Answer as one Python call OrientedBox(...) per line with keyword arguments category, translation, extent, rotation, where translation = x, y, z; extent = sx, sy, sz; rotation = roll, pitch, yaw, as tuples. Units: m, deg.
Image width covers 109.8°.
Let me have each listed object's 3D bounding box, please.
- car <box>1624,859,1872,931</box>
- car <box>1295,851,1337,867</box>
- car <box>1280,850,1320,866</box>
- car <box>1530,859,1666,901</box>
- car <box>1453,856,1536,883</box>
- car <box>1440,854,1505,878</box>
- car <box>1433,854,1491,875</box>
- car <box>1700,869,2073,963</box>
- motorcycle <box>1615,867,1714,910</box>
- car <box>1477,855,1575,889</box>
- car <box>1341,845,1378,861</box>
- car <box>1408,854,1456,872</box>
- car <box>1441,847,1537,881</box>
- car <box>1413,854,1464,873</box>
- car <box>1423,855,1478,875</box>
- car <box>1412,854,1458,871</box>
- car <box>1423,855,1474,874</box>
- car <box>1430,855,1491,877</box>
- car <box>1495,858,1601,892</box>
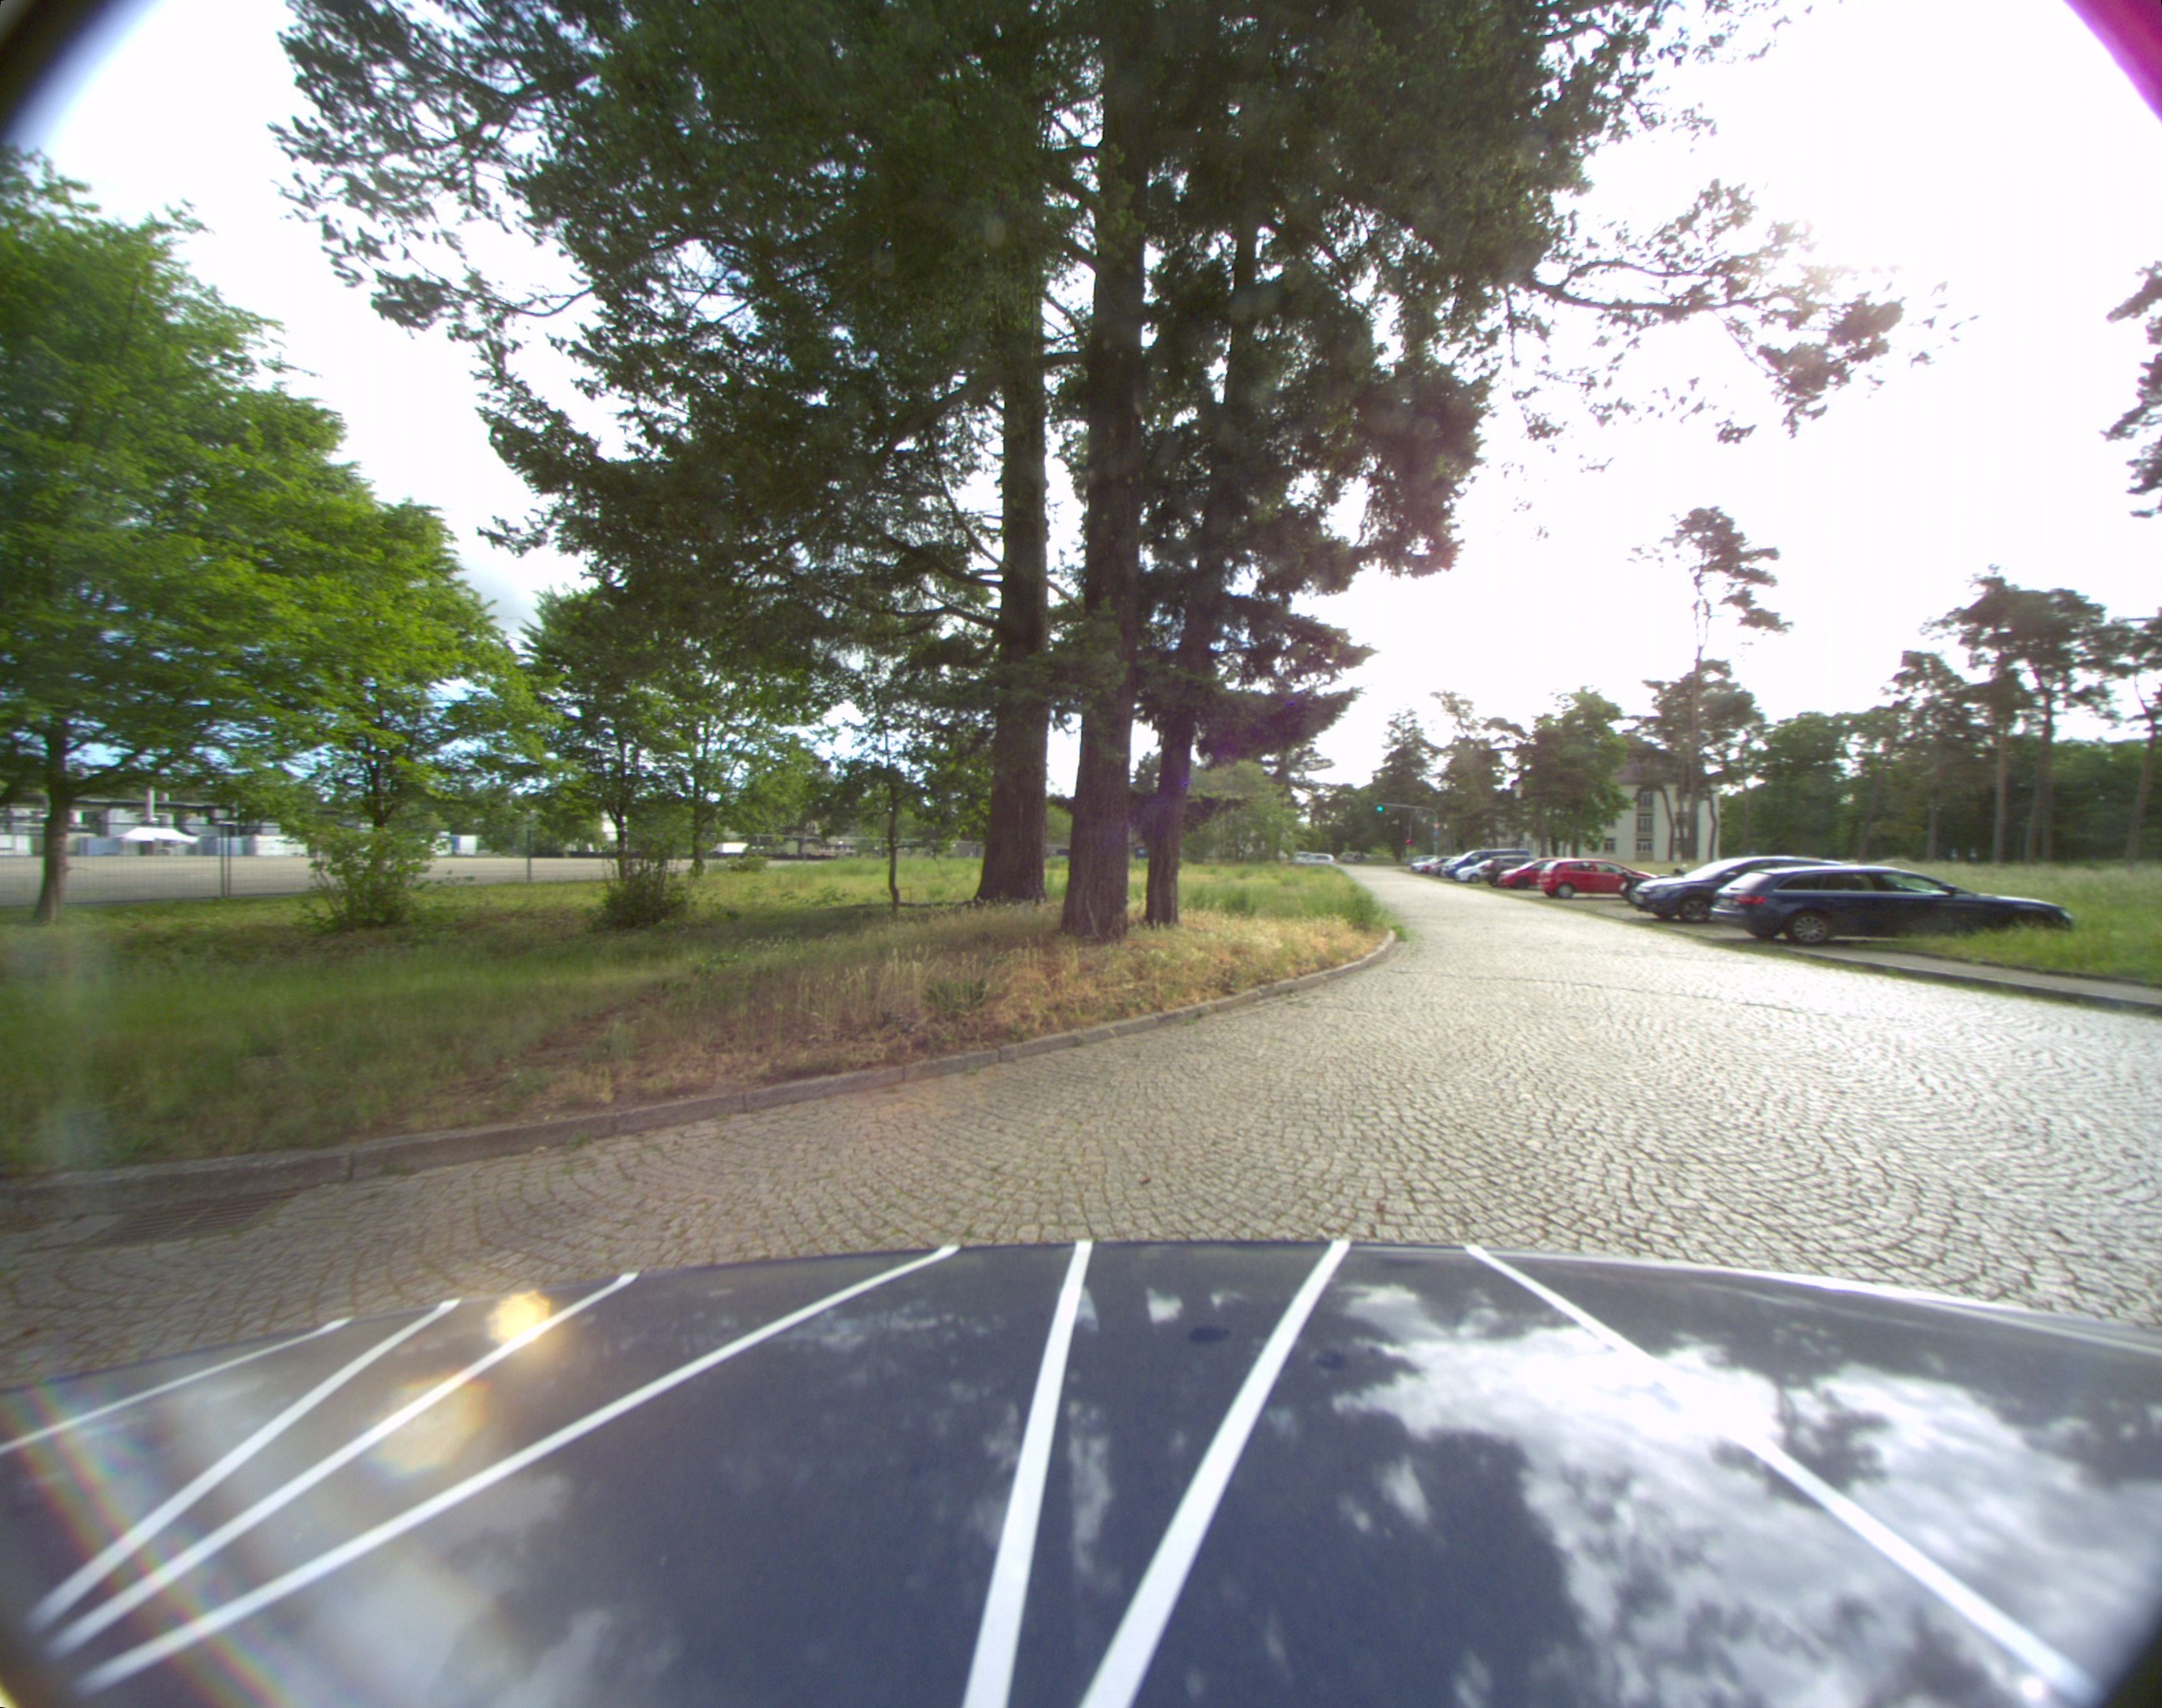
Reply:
OrientedBox(category="car", translation=(16.009, 0.933, 18.498), extent=(4.143, 1.564, 1.792), rotation=(0, 2, 16))
OrientedBox(category="car", translation=(22.110, 0.467, 71.644), extent=(3.725, 1.429, 1.628), rotation=(-1, 1, 14))
OrientedBox(category="car", translation=(22.224, 0.385, 77.205), extent=(3.726, 1.429, 1.627), rotation=(-2, 1, 10))
OrientedBox(category="car", translation=(19.150, 0.954, 28.337), extent=(3.888, 1.470, 1.674), rotation=(0, 0, 17))
OrientedBox(category="car", translation=(24.088, 0.902, 44.394), extent=(3.925, 1.385, 1.745), rotation=(-2, 1, 16))
OrientedBox(category="car", translation=(26.780, 0.837, 52.079), extent=(3.595, 1.446, 1.689), rotation=(-2, 1, 10))
OrientedBox(category="car", translation=(28.624, 0.795, 57.209), extent=(3.568, 1.426, 1.607), rotation=(-2, 1, 10))
OrientedBox(category="car", translation=(14.498, 1.048, 14.040), extent=(4.435, 1.471, 1.685), rotation=(0, 0, 21))
OrientedBox(category="motorcycle", translation=(18.387, 1.061, 23.995), extent=(2.358, 1.280, 0.745), rotation=(0, 1, 18))
OrientedBox(category="car", translation=(22.314, 0.885, 38.267), extent=(3.911, 1.594, 1.823), rotation=(1, 1, 15))
OrientedBox(category="car", translation=(49.277, -0.258, 134.444), extent=(5.789, 2.548, 2.772), rotation=(-2, 1, 12))
OrientedBox(category="car", translation=(30.954, 0.765, 67.093), extent=(3.567, 1.450, 1.628), rotation=(-2, 1, 15))
OrientedBox(category="car", translation=(25.025, 0.620, 46.804), extent=(4.827, 1.855, 2.164), rotation=(-2, 1, 16))
OrientedBox(category="car", translation=(30.262, 0.786, 64.306), extent=(3.568, 1.479, 1.603), rotation=(-2, 1, 10))
OrientedBox(category="car", translation=(29.142, 0.882, 59.948), extent=(3.568, 1.408, 1.639), rotation=(-2, 1, 10))
OrientedBox(category="car", translation=(32.400, 0.751, 69.531), extent=(3.450, 1.424, 1.629), rotation=(-2, 1, 8))
OrientedBox(category="car", translation=(30.038, 0.854, 62.198), extent=(3.645, 1.340, 1.623), rotation=(-2, 1, 21))
OrientedBox(category="car", translation=(27.255, 0.865, 54.705), extent=(3.595, 1.412, 1.619), rotation=(-1, 1, 10))
OrientedBox(category="car", translation=(21.772, 0.967, 35.591), extent=(3.945, 1.511, 1.710), rotation=(0, 0, 18))
